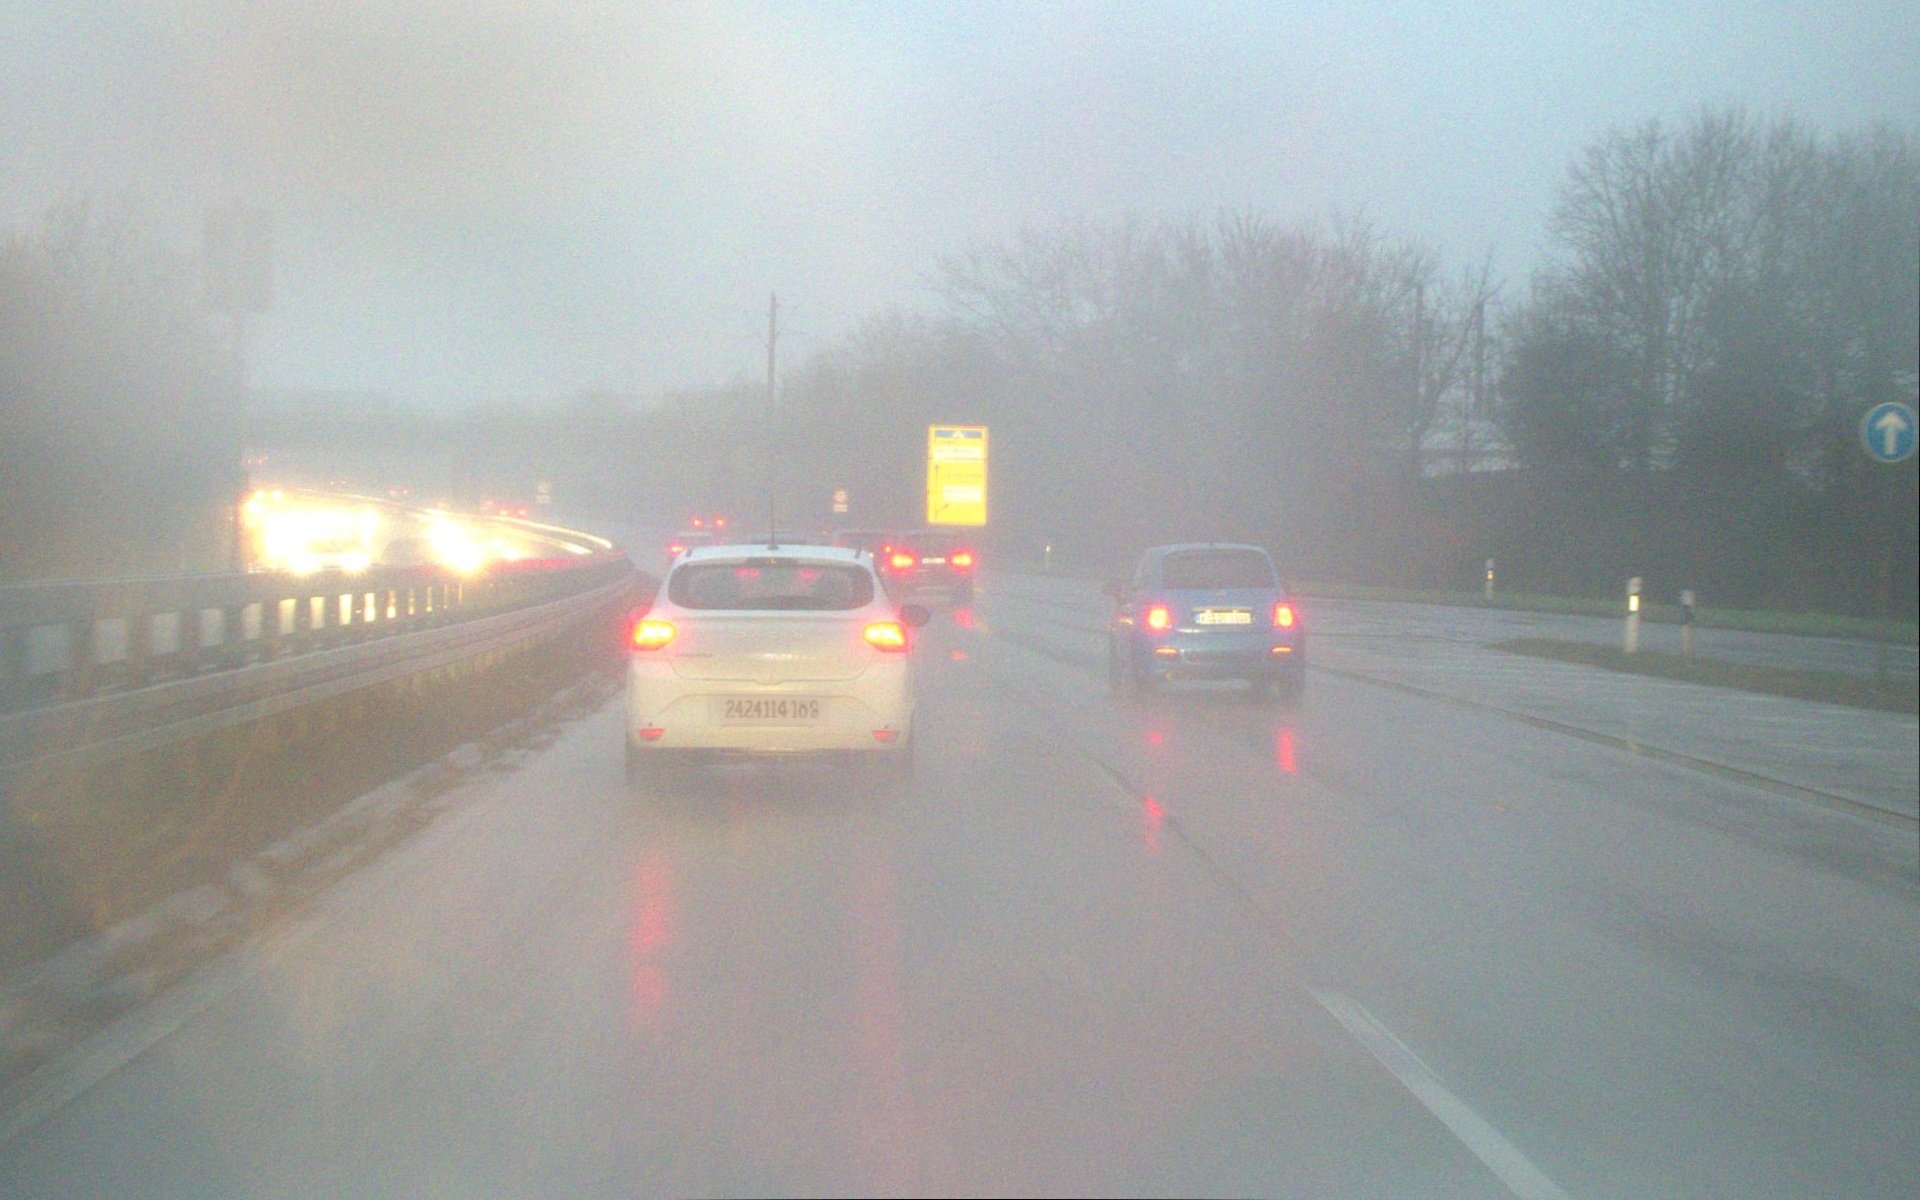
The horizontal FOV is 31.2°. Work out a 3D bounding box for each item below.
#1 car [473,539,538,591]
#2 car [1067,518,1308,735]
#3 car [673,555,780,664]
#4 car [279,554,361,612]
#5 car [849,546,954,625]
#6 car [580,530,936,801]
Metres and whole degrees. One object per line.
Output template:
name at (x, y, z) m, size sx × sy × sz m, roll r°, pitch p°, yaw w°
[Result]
car at (-13.388, -1.046, 101.423) m, size 1.616 × 1.479 × 4.600 m, roll 1°, pitch 1°, yaw -4°
car at (2.201, 0.224, 34.236) m, size 1.932 × 2.012 × 3.774 m, roll 1°, pitch 1°, yaw -3°
car at (-4.514, 0.155, 66.779) m, size 1.993 × 2.007 × 4.001 m, roll 1°, pitch 1°, yaw -3°
car at (-18.005, -0.487, 96.848) m, size 1.703 × 1.561 × 4.851 m, roll 1°, pitch 1°, yaw -4°
car at (-1.337, -0.317, 76.604) m, size 1.932 × 1.541 × 3.774 m, roll -5°, pitch 0°, yaw -5°
car at (-1.210, 0.359, 22.340) m, size 2.025 × 1.569 × 4.000 m, roll 1°, pitch 1°, yaw 1°
